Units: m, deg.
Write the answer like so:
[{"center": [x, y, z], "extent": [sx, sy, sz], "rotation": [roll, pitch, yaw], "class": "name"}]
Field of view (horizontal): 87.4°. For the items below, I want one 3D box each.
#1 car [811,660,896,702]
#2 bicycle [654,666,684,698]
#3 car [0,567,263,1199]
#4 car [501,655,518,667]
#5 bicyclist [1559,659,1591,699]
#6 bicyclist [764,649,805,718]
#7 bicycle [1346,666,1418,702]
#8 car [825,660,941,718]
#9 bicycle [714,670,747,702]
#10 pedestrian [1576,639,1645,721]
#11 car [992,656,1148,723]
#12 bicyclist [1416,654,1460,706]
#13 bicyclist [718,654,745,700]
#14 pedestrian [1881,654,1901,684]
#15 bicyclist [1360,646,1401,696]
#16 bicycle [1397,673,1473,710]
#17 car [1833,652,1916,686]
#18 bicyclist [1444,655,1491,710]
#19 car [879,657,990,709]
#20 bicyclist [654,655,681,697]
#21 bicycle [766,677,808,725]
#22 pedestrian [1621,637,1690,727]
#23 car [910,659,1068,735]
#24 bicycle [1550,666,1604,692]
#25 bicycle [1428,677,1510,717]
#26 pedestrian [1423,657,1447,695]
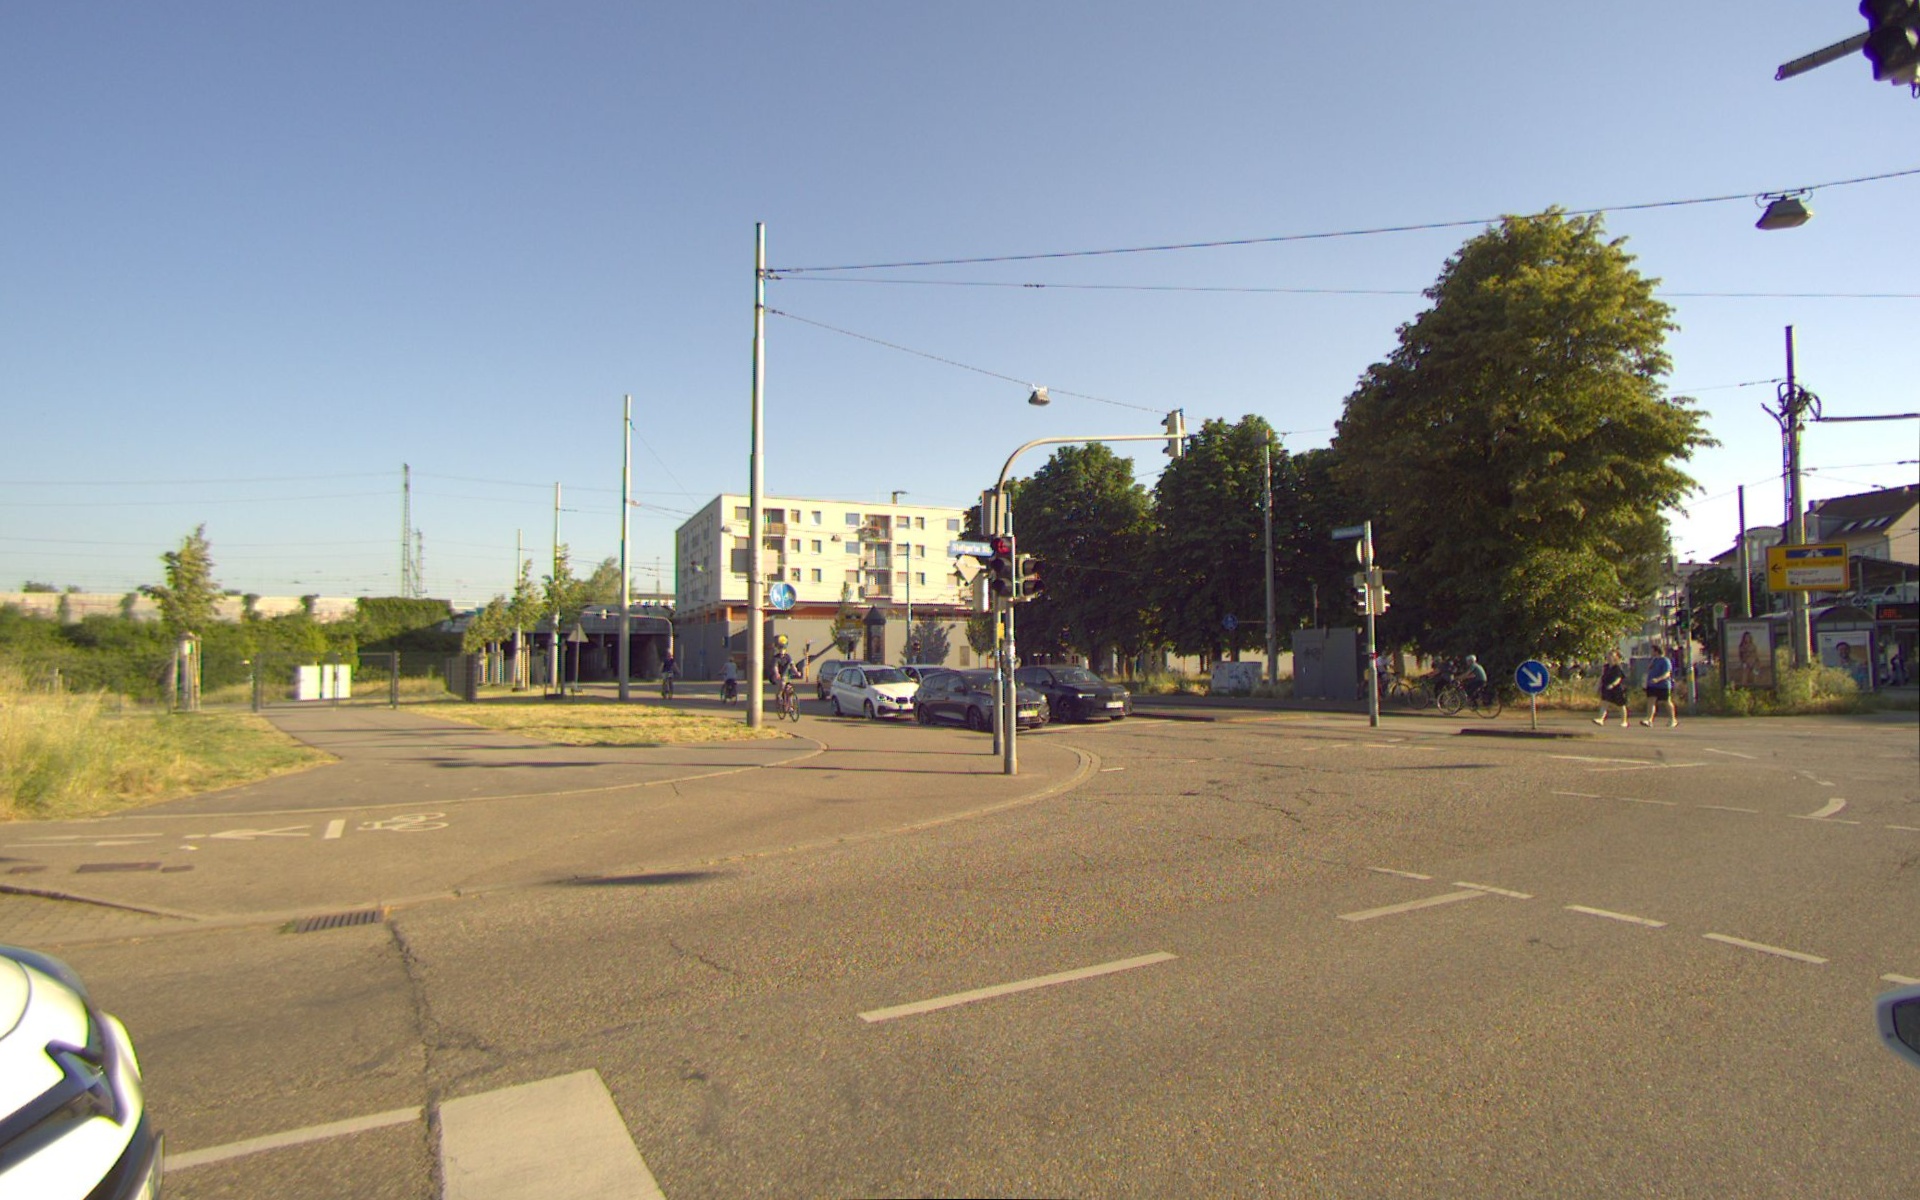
[{"center": [-4.392, 3.243, 40.926], "extent": [1.975, 1.587, 4.426], "rotation": [1, -4, -27], "class": "car"}, {"center": [-11.125, 3.115, 38.366], "extent": [0.782, 1.164, 2.279], "rotation": [1, -4, -24], "class": "bicycle"}, {"center": [-3.058, 0.707, 1.002], "extent": [3.733, 1.488, 1.692], "rotation": [2, -4, -32], "class": "car"}, {"center": [-65.604, 8.949, 146.241], "extent": [1.975, 1.725, 3.972], "rotation": [1, -4, -28], "class": "car"}, {"center": [25.815, 3.301, 42.168], "extent": [0.870, 1.673, 0.670], "rotation": [0, -3, -8], "class": "bicyclist"}, {"center": [-4.312, 2.035, 24.683], "extent": [0.865, 1.646, 0.969], "rotation": [1, -3, -18], "class": "bicyclist"}, {"center": [14.282, 2.832, 34.028], "extent": [0.694, 1.157, 2.177], "rotation": [2, -4, -39], "class": "bicycle"}, {"center": [-2.381, 2.602, 30.027], "extent": [1.975, 1.587, 4.246], "rotation": [1, -4, -27], "class": "car"}, {"center": [-8.181, 3.057, 35.794], "extent": [0.655, 1.083, 2.005], "rotation": [1, -4, -27], "class": "bicycle"}, {"center": [14.447, 1.768, 22.315], "extent": [1.057, 1.769, 0.906], "rotation": [2, -4, -36], "class": "pedestrian"}, {"center": [2.775, 2.279, 26.402], "extent": [2.027, 1.587, 4.423], "rotation": [1, -4, -26], "class": "car"}, {"center": [14.664, 2.438, 30.805], "extent": [0.656, 1.552, 1.024], "rotation": [3, -4, -45], "class": "bicyclist"}, {"center": [-8.143, 2.739, 35.786], "extent": [0.767, 1.626, 0.852], "rotation": [1, -3, -27], "class": "bicyclist"}, {"center": [47.942, 3.568, 51.744], "extent": [0.558, 1.520, 0.677], "rotation": [-2, -4, 32], "class": "pedestrian"}, {"center": [14.265, 2.397, 34.076], "extent": [0.707, 1.650, 1.030], "rotation": [2, -4, -39], "class": "bicyclist"}, {"center": [14.582, 2.795, 30.888], "extent": [0.659, 1.083, 1.993], "rotation": [3, -5, -44], "class": "bicycle"}, {"center": [59.357, 4.462, 65.336], "extent": [2.017, 1.987, 5.153], "rotation": [-4, -4, 19], "class": "car"}, {"center": [14.711, 2.372, 29.135], "extent": [0.693, 1.552, 1.024], "rotation": [3, -4, -43], "class": "bicyclist"}, {"center": [-0.935, 2.726, 33.648], "extent": [1.975, 1.587, 4.426], "rotation": [1, -4, -27], "class": "car"}, {"center": [-11.190, 2.906, 38.460], "extent": [0.841, 1.567, 1.016], "rotation": [1, -4, -26], "class": "bicyclist"}, {"center": [-4.267, 2.448, 24.672], "extent": [0.743, 1.107, 1.941], "rotation": [1, -4, -19], "class": "bicycle"}, {"center": [15.630, 1.835, 22.580], "extent": [1.057, 1.950, 0.906], "rotation": [2, -4, -36], "class": "pedestrian"}, {"center": [0.588, 2.258, 24.160], "extent": [1.975, 1.587, 4.246], "rotation": [0, -3, -27], "class": "car"}, {"center": [25.912, 3.314, 42.175], "extent": [1.983, 1.083, 0.662], "rotation": [0, -3, -11], "class": "bicycle"}, {"center": [14.711, 2.799, 29.097], "extent": [0.659, 1.083, 1.994], "rotation": [2, -4, -43], "class": "bicycle"}, {"center": [24.231, 3.866, 51.295], "extent": [0.674, 1.896, 0.945], "rotation": [0, -3, -6], "class": "pedestrian"}]
